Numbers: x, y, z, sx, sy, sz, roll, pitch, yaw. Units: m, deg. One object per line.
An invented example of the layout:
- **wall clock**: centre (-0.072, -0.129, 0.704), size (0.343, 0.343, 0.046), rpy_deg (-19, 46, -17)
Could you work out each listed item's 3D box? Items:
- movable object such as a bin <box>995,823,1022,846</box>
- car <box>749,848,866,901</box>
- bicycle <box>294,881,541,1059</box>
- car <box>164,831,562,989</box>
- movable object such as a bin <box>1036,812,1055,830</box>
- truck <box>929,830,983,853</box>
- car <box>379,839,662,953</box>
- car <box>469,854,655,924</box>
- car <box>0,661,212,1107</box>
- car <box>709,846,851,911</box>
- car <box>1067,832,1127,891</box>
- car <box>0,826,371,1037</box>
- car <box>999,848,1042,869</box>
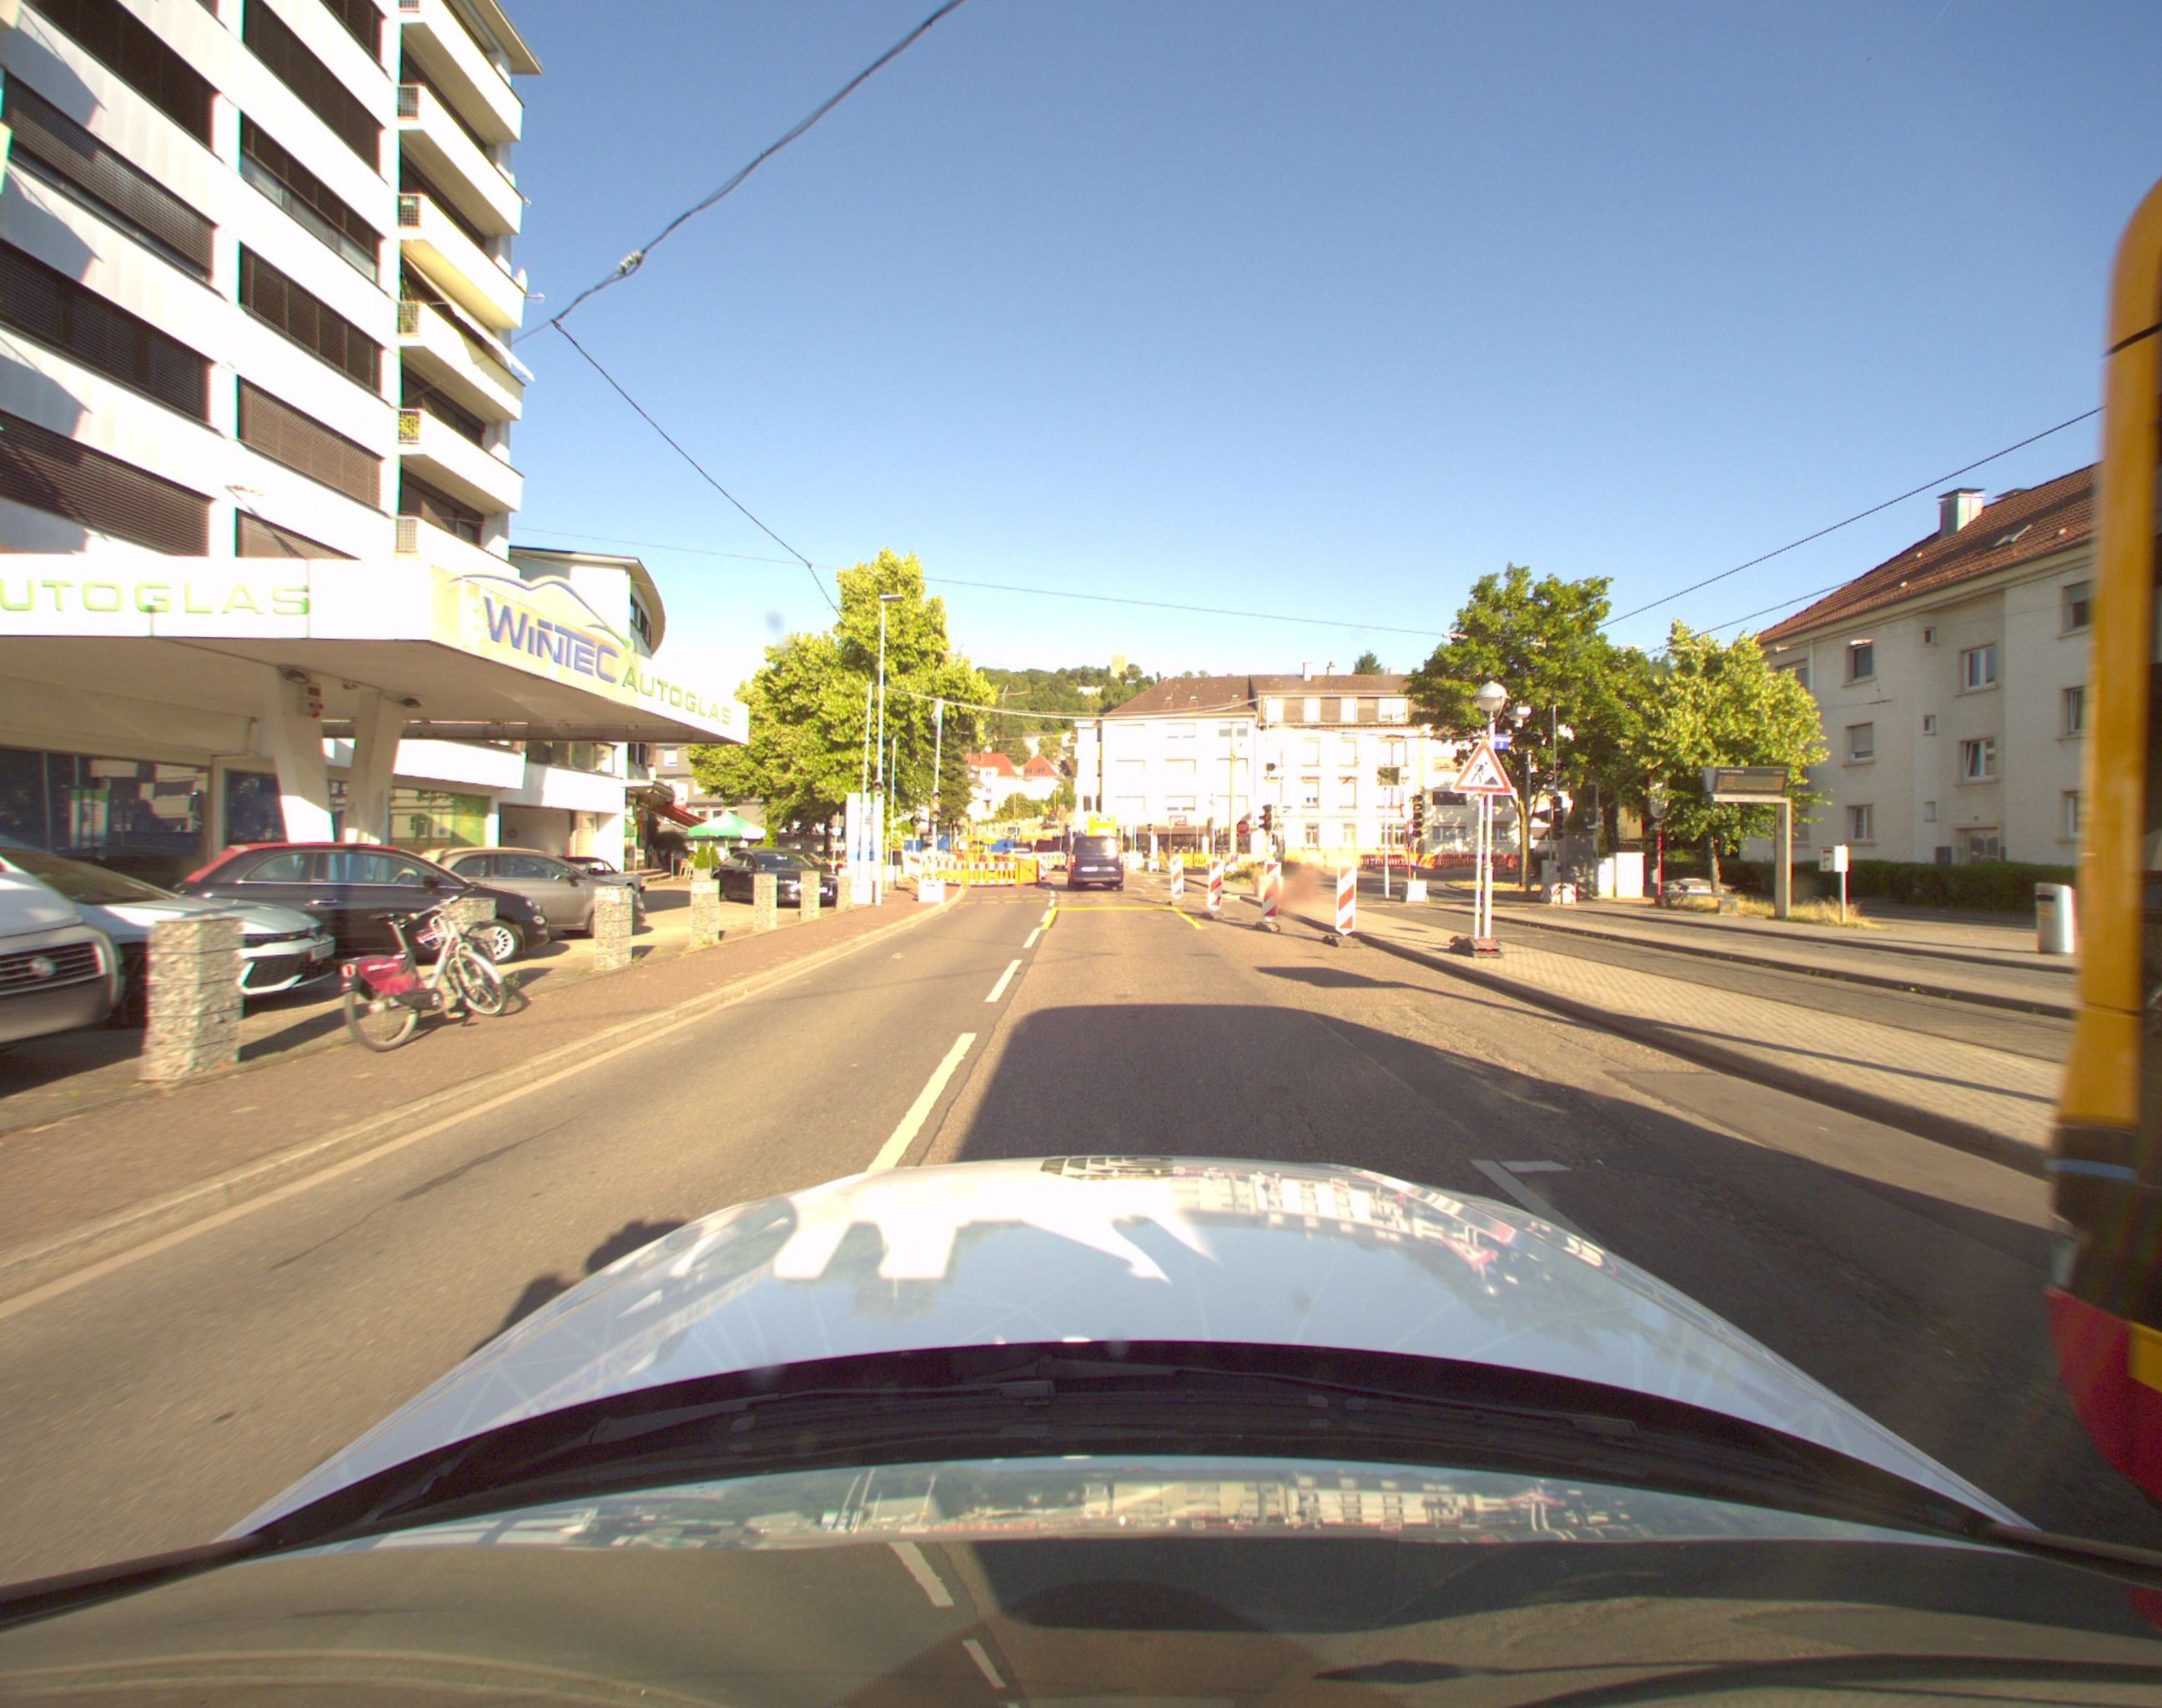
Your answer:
- **movable object such as a bin**: centre (-8.627, -2.335, 97.478), size (2.176, 2.690, 4.014), rpy_deg (0, 0, 12)
- **car**: centre (-8.686, 0.605, 25.677), size (4.246, 1.454, 1.660), rpy_deg (2, 1, 43)
- **bicycle**: centre (-5.244, 0.842, 6.610), size (0.722, 1.178, 1.776), rpy_deg (0, 0, -8)
- **car**: centre (-8.491, 0.560, 9.881), size (1.602, 1.568, 3.413), rpy_deg (0, 0, 44)
- **movable object such as a bin**: centre (-5.693, -5.327, 131.998), size (2.176, 2.690, 4.014), rpy_deg (0, 0, 12)
- **truck**: centre (-13.218, -1.294, 87.009), size (2.340, 2.415, 9.185), rpy_deg (0, 0, 13)
- **car**: centre (-8.823, 0.583, 13.024), size (1.601, 1.568, 3.415), rpy_deg (0, 0, 39)
- **car**: centre (-11.168, 0.678, 17.898), size (1.583, 1.284, 4.135), rpy_deg (0, 1, -3)
- **car**: centre (-8.581, 0.131, 4.240), size (5.074, 2.469, 2.094), rpy_deg (1, 0, -21)
- **car**: centre (-7.916, 0.564, 21.201), size (1.921, 1.454, 4.261), rpy_deg (1, 1, -43)
- **car**: centre (0.590, 0.265, 30.459), size (2.054, 2.013, 5.001), rpy_deg (0, 0, 1)
- **car**: centre (-8.736, 0.558, 6.717), size (4.010, 1.568, 1.757), rpy_deg (1, 1, -29)
- **car**: centre (-4.259, 0.322, 57.004), size (1.802, 1.409, 3.969), rpy_deg (0, 0, -23)
